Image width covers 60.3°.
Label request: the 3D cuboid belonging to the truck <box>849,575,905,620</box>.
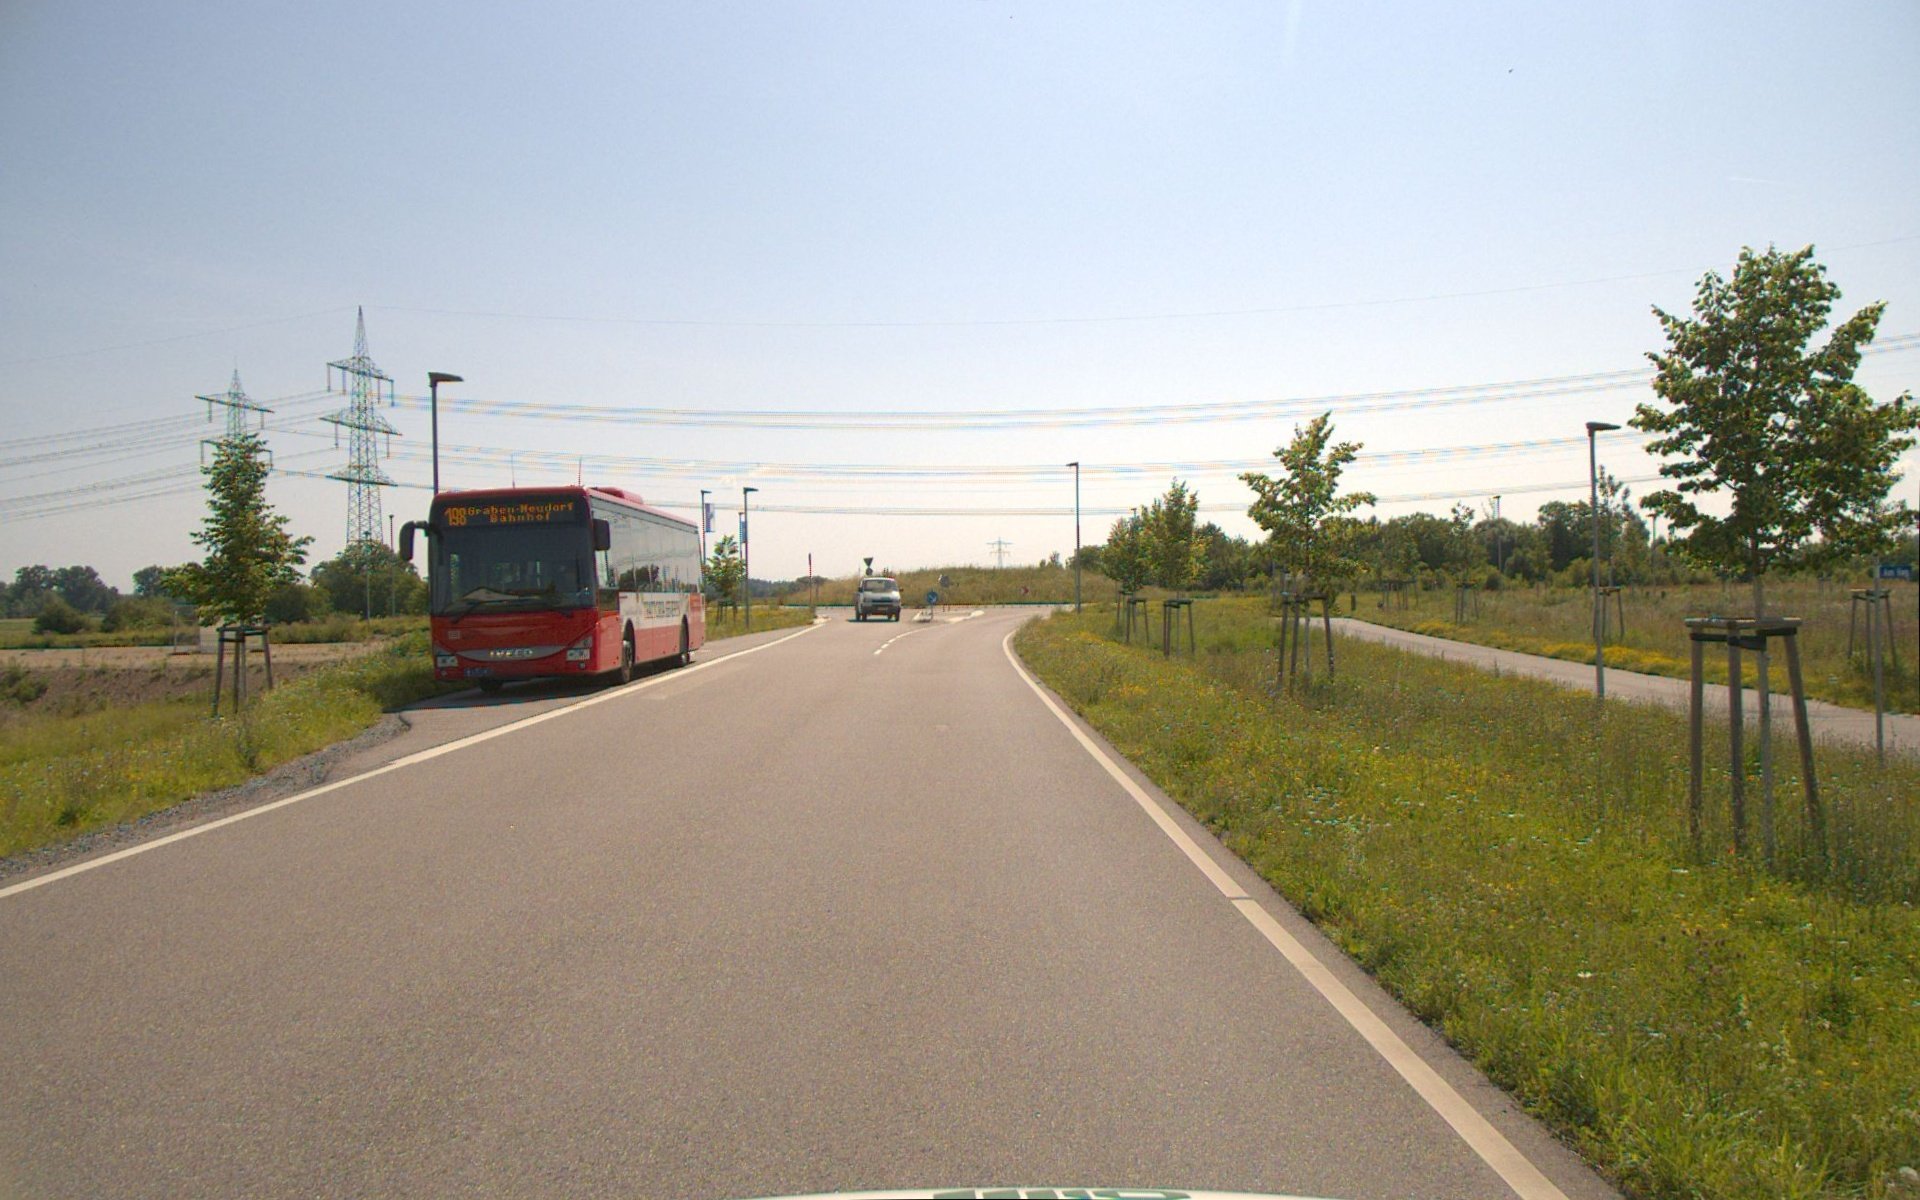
[{"bbox_3d":[-3.935,-0.112,77.542,1.916,2.019,5.630,1,0,-10],"label":"truck"}]

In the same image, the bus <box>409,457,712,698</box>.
[{"bbox_3d":[-6.665,-0.340,29.913,2.738,3.344,12.225,-2,0,-2],"label":"bus"}]
